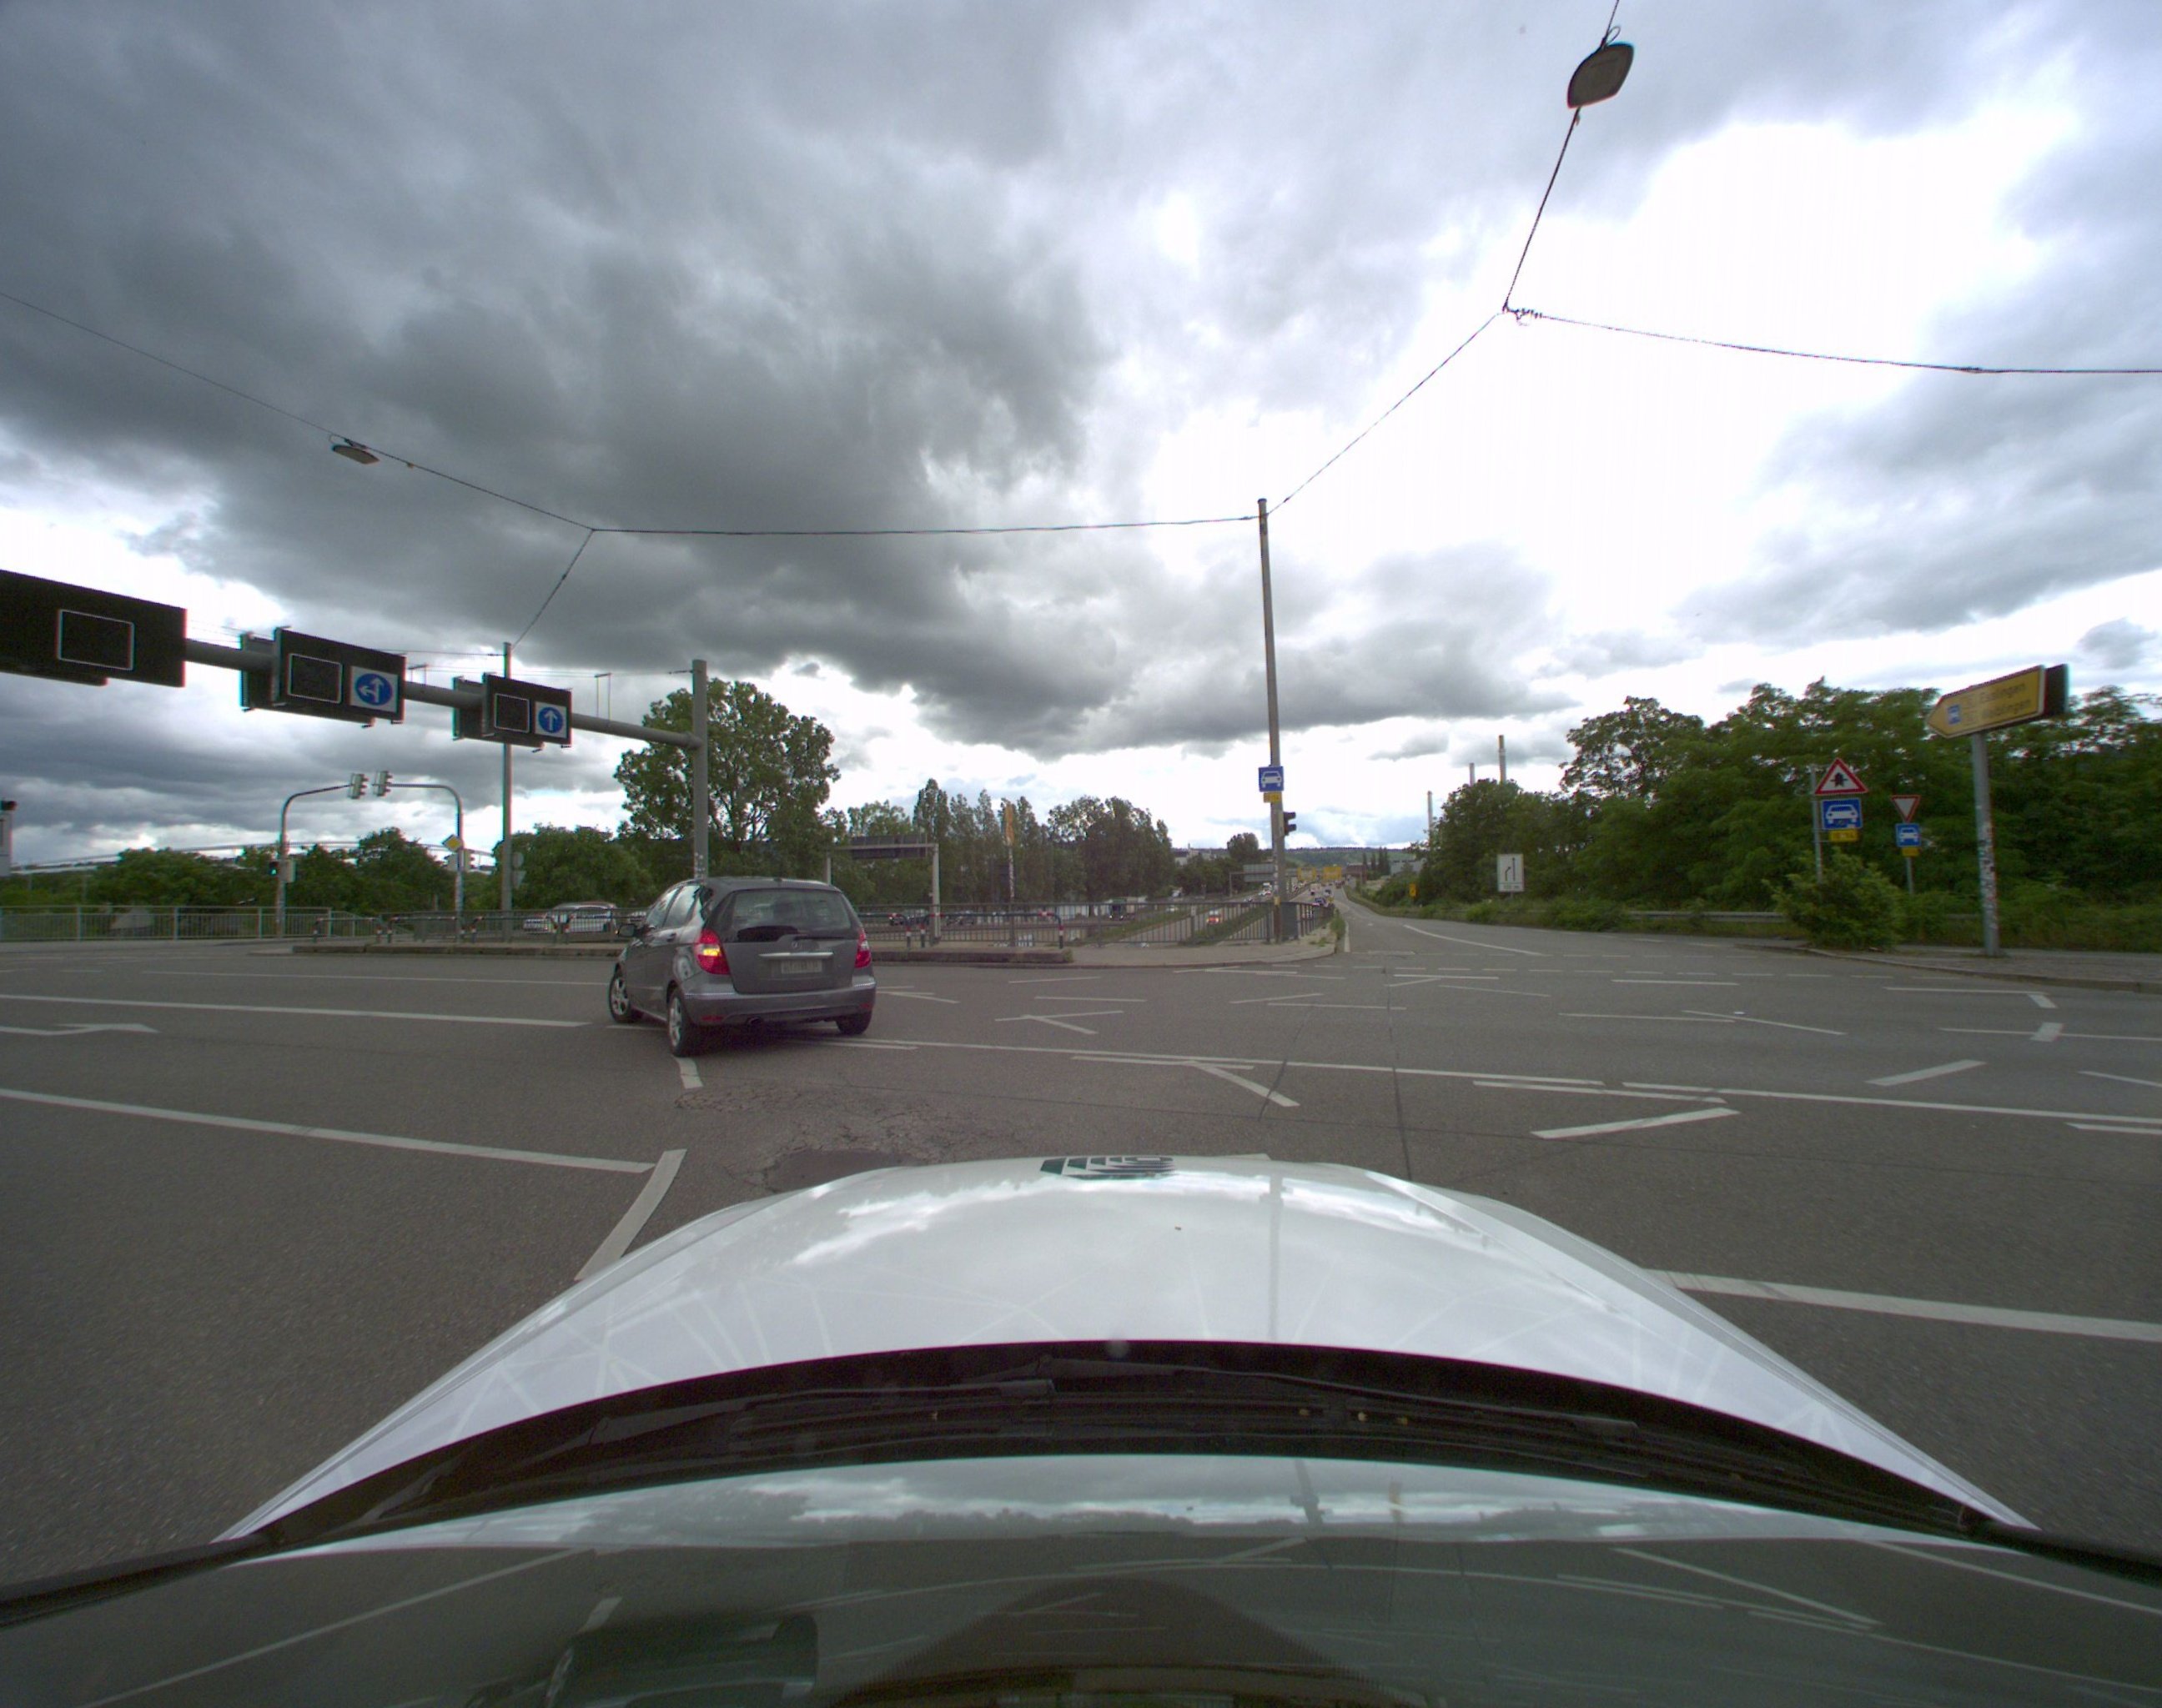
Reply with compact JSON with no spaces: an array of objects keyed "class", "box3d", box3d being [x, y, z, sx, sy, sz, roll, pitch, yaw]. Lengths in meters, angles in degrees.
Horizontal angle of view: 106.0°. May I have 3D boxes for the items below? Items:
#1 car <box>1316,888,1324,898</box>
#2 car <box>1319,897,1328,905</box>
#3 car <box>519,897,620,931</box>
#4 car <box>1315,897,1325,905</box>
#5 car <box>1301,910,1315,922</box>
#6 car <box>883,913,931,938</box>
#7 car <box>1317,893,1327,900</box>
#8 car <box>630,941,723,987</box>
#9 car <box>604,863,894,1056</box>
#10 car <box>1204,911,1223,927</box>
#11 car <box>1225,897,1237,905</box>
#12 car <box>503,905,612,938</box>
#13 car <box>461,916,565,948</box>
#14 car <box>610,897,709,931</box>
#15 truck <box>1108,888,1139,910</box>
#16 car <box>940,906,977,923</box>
[{"class":"car","box3d":[63.648,10.354,216.914,1.978,2.623,5.420,-3,-4,15]},{"class":"car","box3d":[59.914,11.606,201.245,1.978,2.014,4.015,-3,-4,15]},{"class":"car","box3d":[-25.114,2.951,40.138,1.676,1.540,4.026,-4,-5,18]},{"class":"car","box3d":[53.757,10.539,183.314,1.978,1.737,4.012,-3,-4,15]},{"class":"car","box3d":[36.548,9.906,130.913,1.978,1.737,4.012,-3,-4,16]},{"class":"car","box3d":[-14.121,5.812,66.354,1.977,1.618,4.021,-2,1,20]},{"class":"car","box3d":[67.821,11.975,229.146,2.512,1.902,4.901,-3,-4,15]},{"class":"car","box3d":[-23.632,6.363,47.813,2.188,2.013,4.567,-2,0,19]},{"class":"car","box3d":[-3.669,0.989,8.625,1.760,1.551,3.825,2,-5,-40]},{"class":"car","box3d":[20.305,9.928,124.593,1.977,2.371,4.610,-4,-4,18]},{"class":"car","box3d":[35.586,11.106,193.231,1.977,1.707,4.097,-4,-4,18]},{"class":"car","box3d":[-23.595,3.024,36.866,1.769,1.313,3.783,-4,-5,21]},{"class":"car","box3d":[-28.818,3.926,41.488,1.677,1.421,4.171,-4,-5,18]},{"class":"car","box3d":[-21.973,3.136,42.654,1.977,1.620,4.363,-4,-5,20]},{"class":"truck","box3d":[7.584,7.842,143.158,2.750,3.510,9.303,-2,-2,20]},{"class":"car","box3d":[-12.181,5.991,81.145,1.977,1.618,4.018,-4,-5,19]}]
